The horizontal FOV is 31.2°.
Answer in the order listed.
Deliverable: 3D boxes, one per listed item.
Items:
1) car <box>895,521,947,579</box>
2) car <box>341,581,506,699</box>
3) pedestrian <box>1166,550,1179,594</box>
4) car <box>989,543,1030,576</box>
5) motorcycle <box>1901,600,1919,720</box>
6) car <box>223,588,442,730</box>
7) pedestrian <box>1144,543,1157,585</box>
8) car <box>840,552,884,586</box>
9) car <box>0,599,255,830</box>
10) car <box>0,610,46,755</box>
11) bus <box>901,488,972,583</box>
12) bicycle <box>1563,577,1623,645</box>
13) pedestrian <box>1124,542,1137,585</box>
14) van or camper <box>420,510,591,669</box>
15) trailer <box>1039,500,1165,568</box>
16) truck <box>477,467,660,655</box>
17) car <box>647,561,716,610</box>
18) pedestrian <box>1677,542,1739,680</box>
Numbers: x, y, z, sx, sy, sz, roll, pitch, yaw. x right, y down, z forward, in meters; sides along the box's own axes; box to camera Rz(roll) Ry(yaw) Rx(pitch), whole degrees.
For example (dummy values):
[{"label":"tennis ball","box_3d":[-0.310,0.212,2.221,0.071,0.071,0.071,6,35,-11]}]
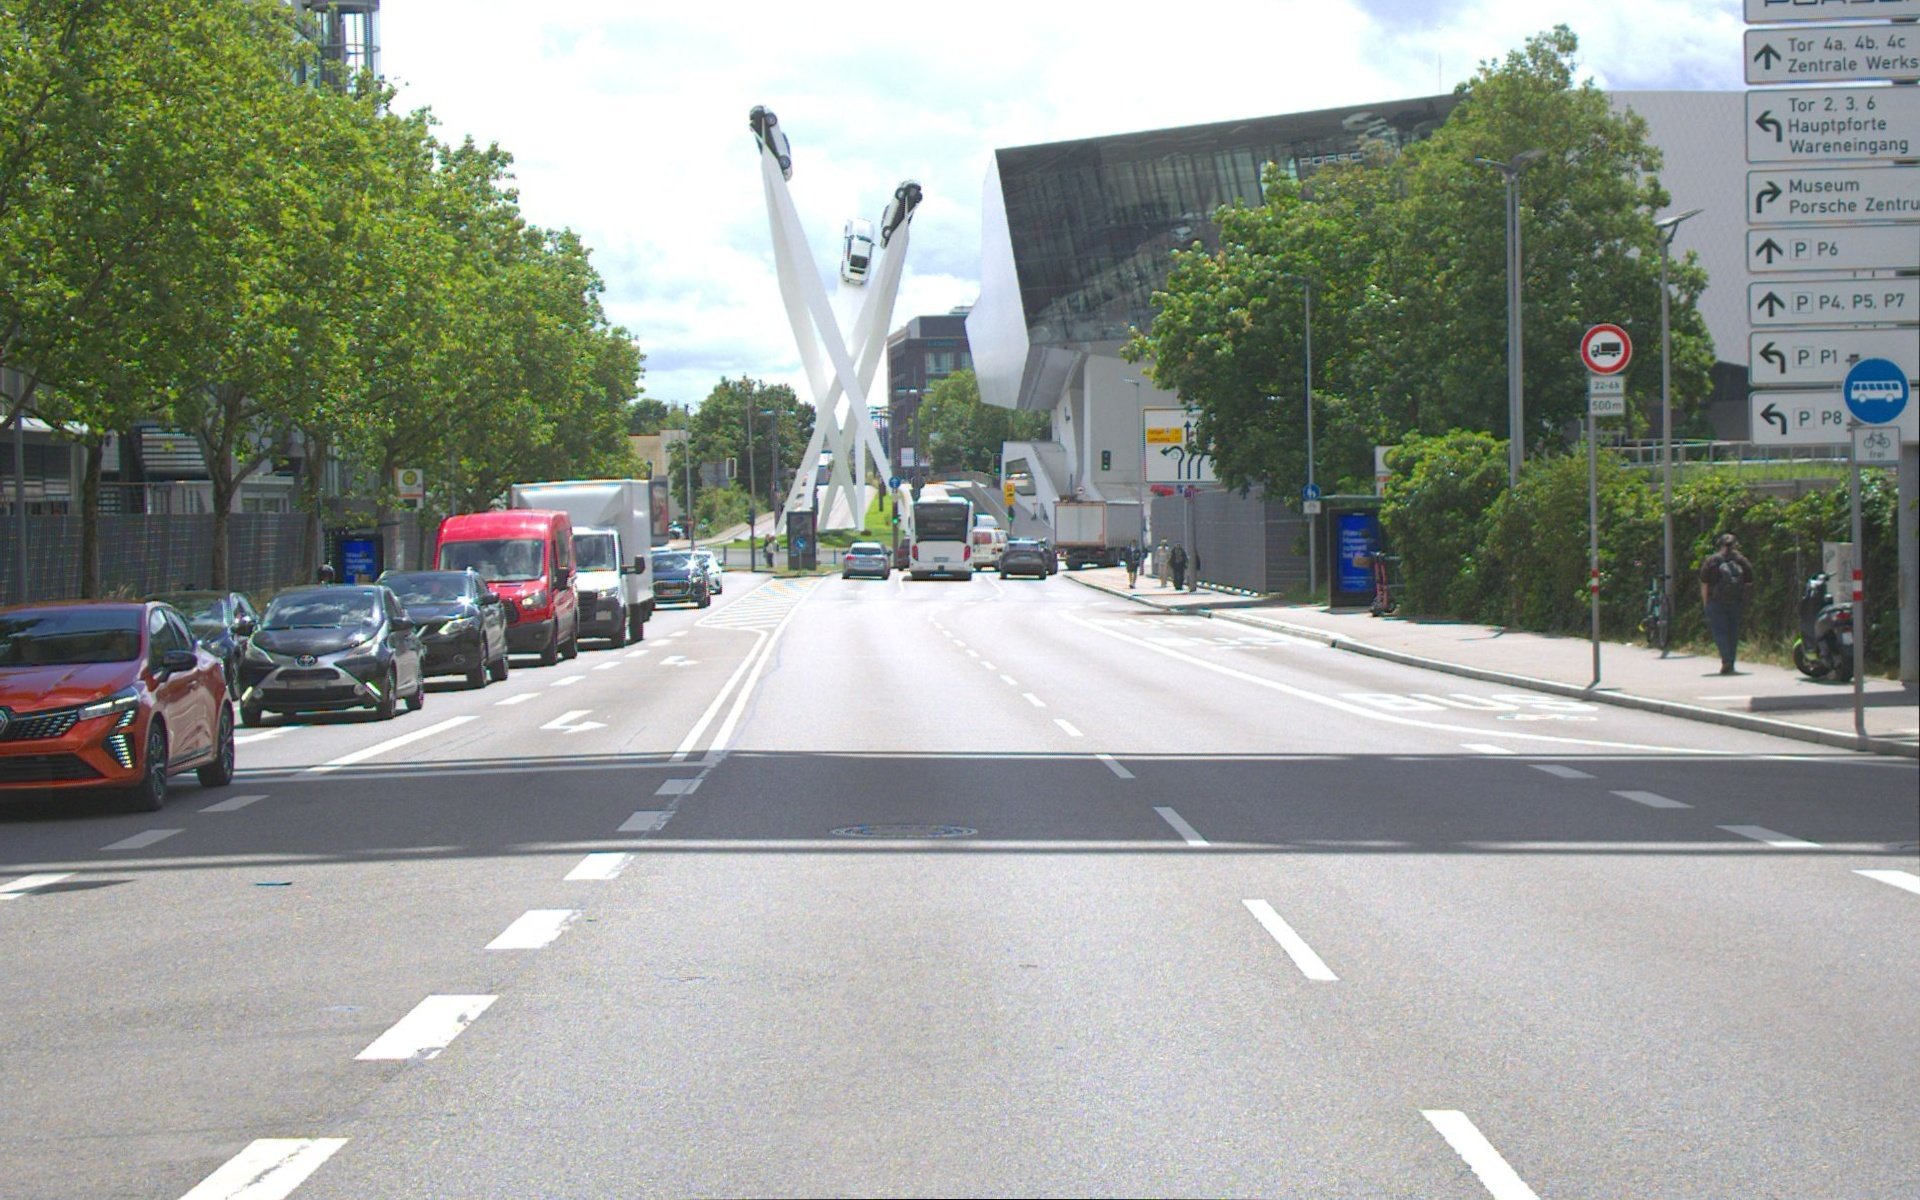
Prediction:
[{"label":"car","box_3d":[-1.833,-2.326,161.900,1.844,2.615,3.999,1,0,7]},{"label":"car","box_3d":[-7.133,0.504,46.028,1.557,1.443,3.772,-3,0,0]},{"label":"pedestrian","box_3d":[6.902,-0.917,111.530,0.386,1.416,0.423,1,0,0]},{"label":"car","box_3d":[1.999,-1.627,139.065,1.557,1.269,3.701,-3,0,1]},{"label":"motorcycle","box_3d":[9.588,0.582,32.616,0.418,1.162,1.957,1,0,-11]},{"label":"car","box_3d":[-6.740,0.602,37.238,1.632,1.378,3.701,-3,0,0]},{"label":"pedestrian","box_3d":[6.440,-1.210,116.235,0.386,1.416,0.423,1,0,0]},{"label":"car","box_3d":[-3.922,-1.253,138.243,1.557,1.269,3.701,-3,0,1]},{"label":"car","box_3d":[-6.201,0.753,23.920,1.769,1.415,3.701,-3,0,0]},{"label":"car","box_3d":[-10.158,0.849,33.001,1.727,1.378,3.701,-3,0,0]},{"label":"bus","box_3d":[-0.943,-2.597,140.103,2.787,3.673,6.943,1,0,0]},{"label":"bicycle","box_3d":[9.725,0.168,52.863,0.418,1.019,1.913,1,0,-5]},{"label":"pedestrian","box_3d":[5.745,-1.232,115.970,0.386,1.416,0.423,1,0,0]},{"label":"van or camper","box_3d":[-7.328,-0.185,55.932,2.047,2.458,5.594,0,0,0]},{"label":"trailer","box_3d":[6.963,-3.142,166.359,3.322,2.985,10.366,1,0,19]},{"label":"truck","box_3d":[-7.289,-0.684,64.784,2.591,3.313,7.079,1,0,0]},{"label":"car","box_3d":[-7.735,-0.407,95.668,1.557,1.269,3.701,-3,0,0]},{"label":"pedestrian","box_3d":[8.978,0.129,41.257,0.533,1.635,0.658,1,0,-6]}]
